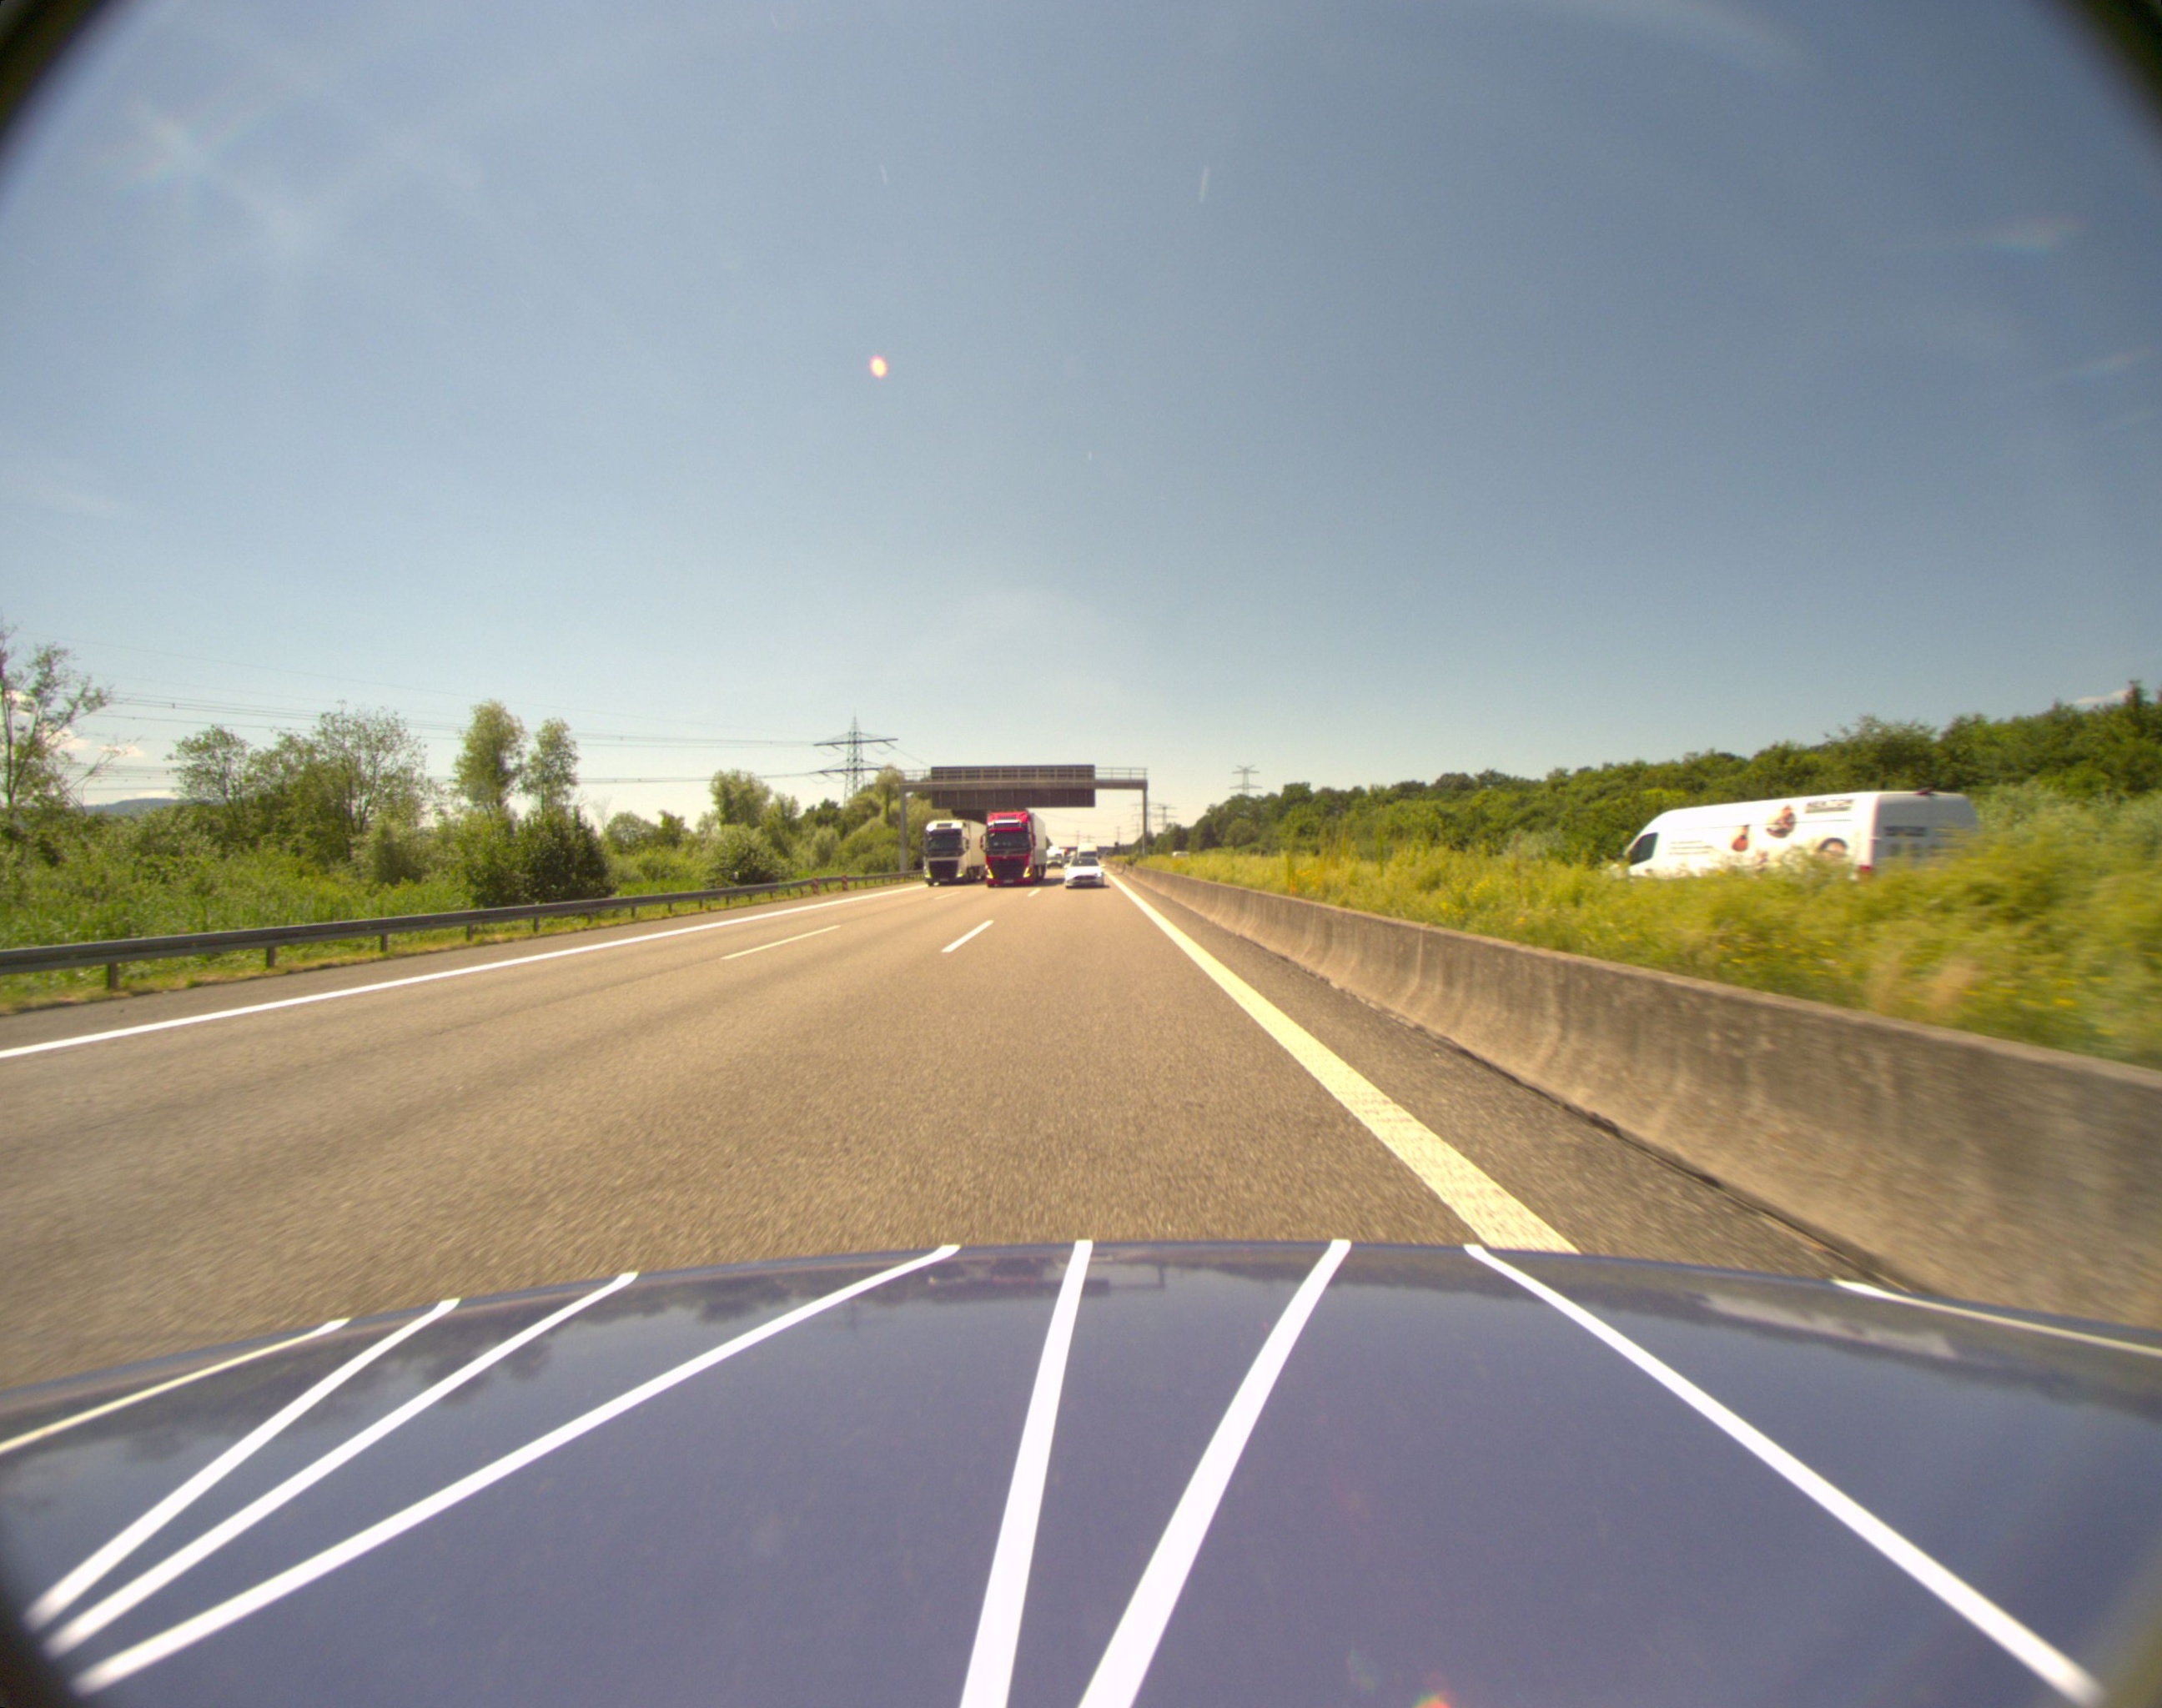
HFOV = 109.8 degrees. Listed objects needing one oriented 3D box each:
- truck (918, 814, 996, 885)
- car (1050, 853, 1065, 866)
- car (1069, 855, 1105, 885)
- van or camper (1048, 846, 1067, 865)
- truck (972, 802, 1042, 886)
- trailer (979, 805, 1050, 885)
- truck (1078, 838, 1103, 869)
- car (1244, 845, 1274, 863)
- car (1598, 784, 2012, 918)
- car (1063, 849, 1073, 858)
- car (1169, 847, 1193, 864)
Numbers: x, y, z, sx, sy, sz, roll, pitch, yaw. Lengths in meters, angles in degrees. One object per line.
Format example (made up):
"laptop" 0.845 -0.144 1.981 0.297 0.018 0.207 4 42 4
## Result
"truck" -7.945 -0.289 50.316 3.033 4.069 10.977 -2 1 1
"car" -3.008 0.692 97.822 1.788 1.520 4.104 -1 0 0
"car" 0.276 0.817 40.482 1.788 1.462 4.000 -1 0 0
"van or camper" -3.115 0.205 103.079 2.411 2.483 6.431 -1 0 0
"truck" -3.714 -0.493 39.668 2.948 3.963 6.100 -2 1 0
"trailer" -3.765 -0.536 47.331 2.945 3.994 16.197 -2 0 0
"truck" 0.896 -0.031 74.138 2.192 2.841 5.503 -2 0 0
"car" 17.790 0.017 76.152 1.967 1.666 4.462 -2 0 1
"car" 13.580 -0.060 15.185 1.998 2.002 6.556 -3 0 1
"car" -2.635 -0.070 153.965 1.904 1.662 4.000 -2 0 0
"car" 10.672 0.172 81.298 1.998 1.710 5.117 -1 0 1
